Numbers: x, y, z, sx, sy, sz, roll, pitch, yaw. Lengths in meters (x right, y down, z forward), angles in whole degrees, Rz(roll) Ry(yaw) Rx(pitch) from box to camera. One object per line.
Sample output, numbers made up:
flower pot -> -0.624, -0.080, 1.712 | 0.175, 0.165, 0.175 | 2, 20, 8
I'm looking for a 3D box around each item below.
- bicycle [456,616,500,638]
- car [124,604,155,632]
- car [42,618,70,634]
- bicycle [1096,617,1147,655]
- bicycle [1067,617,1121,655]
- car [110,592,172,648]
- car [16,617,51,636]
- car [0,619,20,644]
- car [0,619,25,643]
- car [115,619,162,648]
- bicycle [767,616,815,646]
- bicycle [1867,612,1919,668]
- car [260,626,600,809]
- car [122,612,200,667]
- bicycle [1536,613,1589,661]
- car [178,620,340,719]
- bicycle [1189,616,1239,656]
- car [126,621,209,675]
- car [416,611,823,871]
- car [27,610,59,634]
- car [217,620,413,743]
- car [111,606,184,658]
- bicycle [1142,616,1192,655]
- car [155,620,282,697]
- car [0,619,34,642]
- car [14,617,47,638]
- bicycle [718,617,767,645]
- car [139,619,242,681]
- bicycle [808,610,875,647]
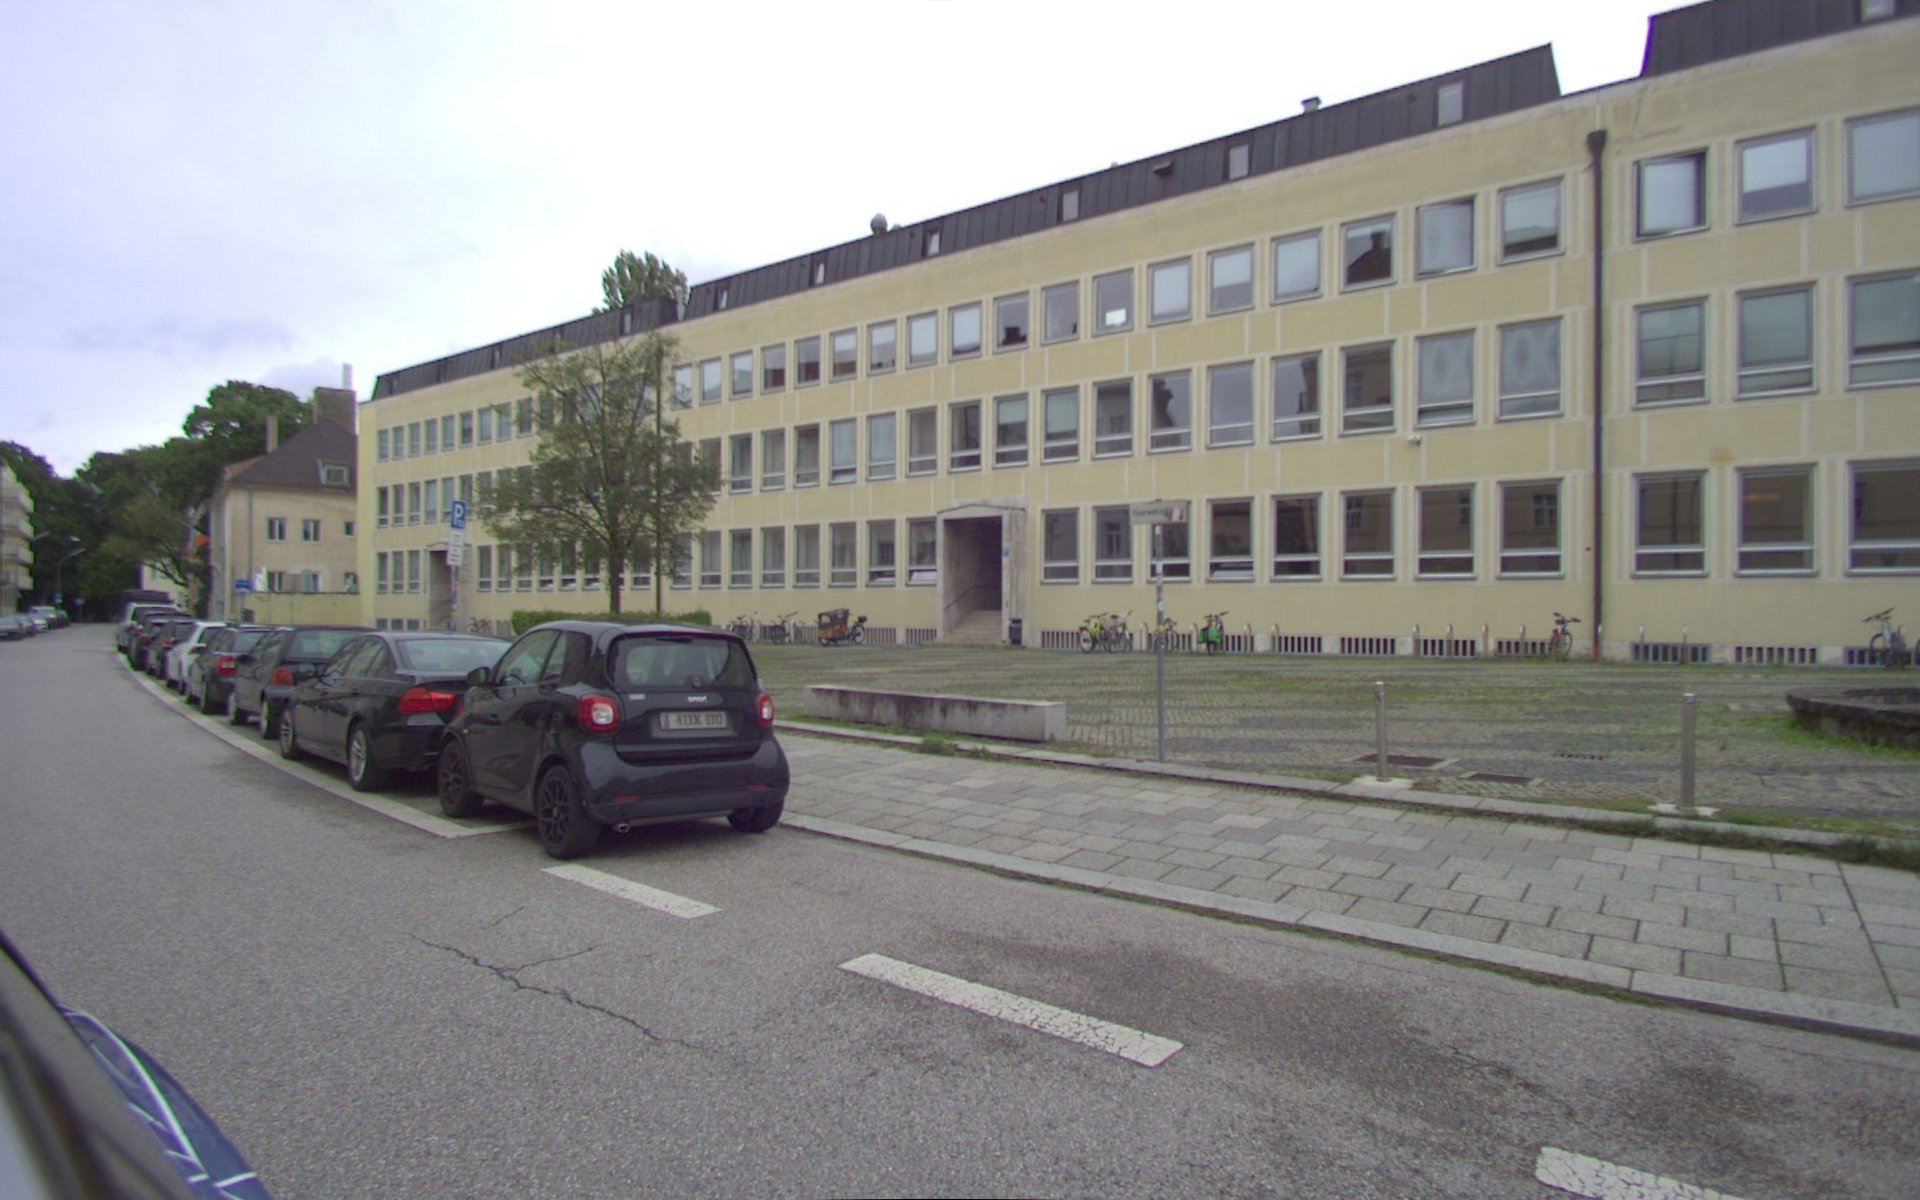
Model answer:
bicycle -> -23.522, 1.321, 49.407 | 0.579, 1.022, 1.932 | -1, 0, 32
car -> -75.933, 1.644, 93.705 | 2.072, 2.450, 4.558 | 0, -1, -38
car -> -90.397, 2.583, 101.244 | 1.843, 1.475, 4.276 | 0, -1, -39
bicycle -> 4.585, 1.001, 28.624 | 0.624, 1.022, 1.929 | -1, -1, 35
bicycle -> 3.841, 1.020, 28.997 | 0.625, 1.022, 1.928 | -1, -1, 39
car -> -41.559, 1.016, 51.426 | 2.268, 2.666, 5.664 | 2, -2, -39
car -> -75.132, 2.100, 82.080 | 1.739, 1.468, 3.755 | 0, -1, -37
car -> -57.412, 1.866, 60.502 | 1.758, 1.404, 4.250 | 0, -1, -43
car -> -60.513, 1.966, 64.110 | 1.740, 1.468, 3.423 | 0, -1, -41
car -> -44.885, 1.810, 55.264 | 1.682, 1.505, 3.492 | 0, -1, -45
bicycle -> -6.154, 1.114, 36.901 | 0.623, 1.022, 1.931 | -1, -1, 32
bicycle -> 17.979, 0.739, 19.334 | 0.623, 1.022, 1.931 | -1, -1, 32
car -> -5.509, 0.997, 10.220 | 1.778, 1.416, 4.458 | 3, -3, -45
car -> -26.497, 1.284, 33.509 | 1.722, 1.679, 4.455 | 5, -4, -41
bicycle -> 13.609, 0.810, 22.844 | 0.625, 1.022, 1.925 | -1, -1, 43
car -> -12.045, 1.097, 17.269 | 1.733, 1.465, 4.402 | 3, -3, -41
bicycle -> 6.827, 0.948, 27.119 | 0.624, 1.022, 1.929 | -1, -1, 35
car -> -23.187, 1.372, 29.549 | 1.659, 1.465, 3.875 | 3, -3, -41
car -> -2.618, 0.868, 7.543 | 2.978, 1.513, 1.651 | -1, -3, 44
car -> -80.524, 1.929, 88.903 | 1.843, 2.029, 4.276 | 0, -1, -39
car -> -8.902, 1.029, 13.874 | 1.637, 1.465, 3.315 | 3, -3, -43
car -> -33.199, 1.282, 41.291 | 1.905, 1.994, 5.027 | 2, -2, -43
bicycle -> 5.767, 0.978, 28.163 | 0.624, 1.022, 1.929 | -1, -1, 35
car -> -15.747, 1.175, 21.407 | 1.637, 1.465, 4.077 | 3, -3, -43
car -> -63.310, 2.008, 67.786 | 1.740, 1.468, 3.753 | 0, -1, -41
car -> -70.804, 2.071, 77.141 | 1.740, 1.468, 3.753 | 0, -1, -41
bicycle -> -8.181, 1.160, 38.160 | 0.623, 1.022, 1.931 | -1, -1, 32
car -> -19.740, 1.242, 25.917 | 1.637, 1.465, 3.978 | 3, -3, -43
bicycle -> -4.105, 0.974, 35.271 | 1.053, 1.258, 2.415 | -1, -1, 32
